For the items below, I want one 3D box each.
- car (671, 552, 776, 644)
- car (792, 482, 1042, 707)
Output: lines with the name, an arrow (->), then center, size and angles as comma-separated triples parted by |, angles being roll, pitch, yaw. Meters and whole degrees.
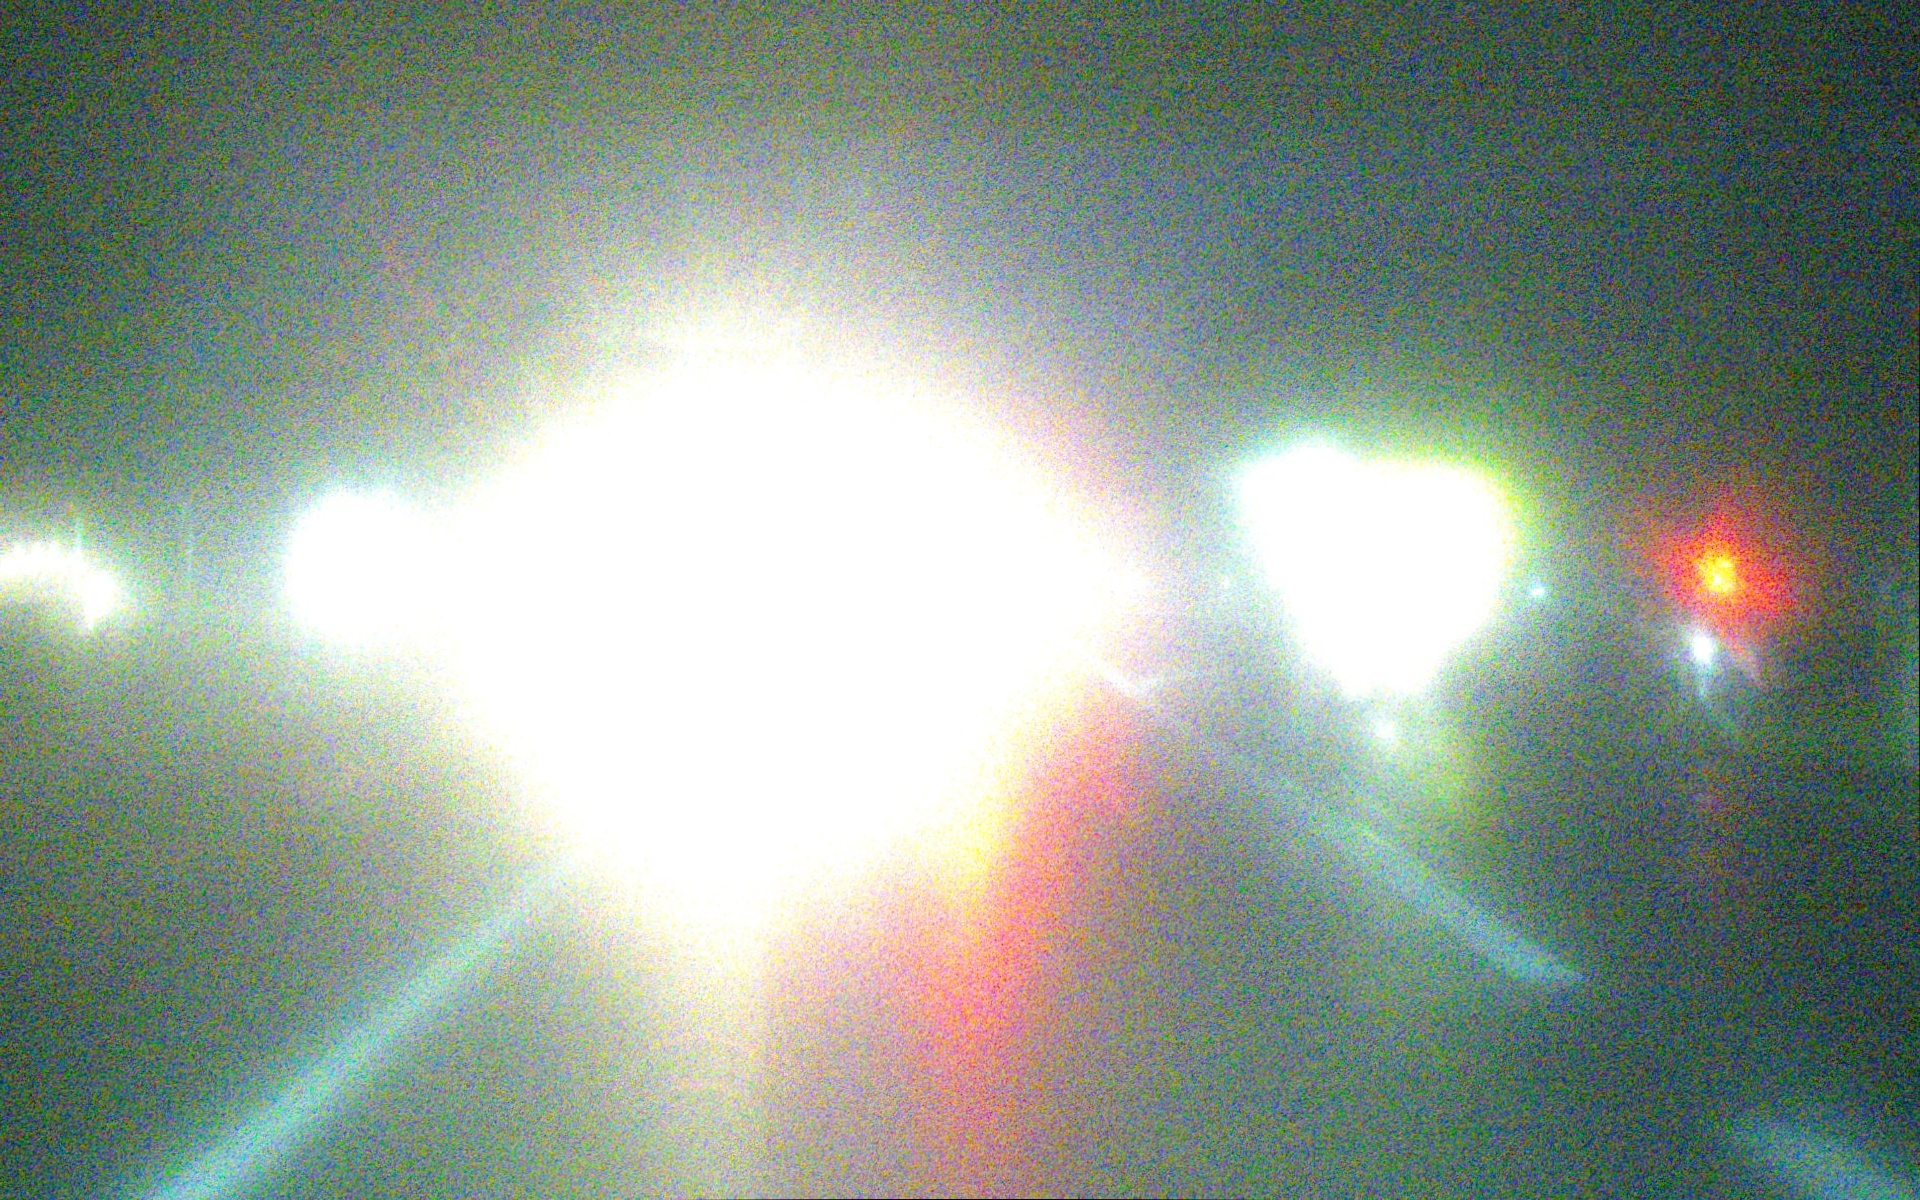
car -> -4.468, -0.062, 65.007 | 1.899, 1.639, 3.792 | 1, 1, -4
car -> -0.333, -0.062, 27.139 | 1.808, 1.616, 4.000 | 1, 1, -1
